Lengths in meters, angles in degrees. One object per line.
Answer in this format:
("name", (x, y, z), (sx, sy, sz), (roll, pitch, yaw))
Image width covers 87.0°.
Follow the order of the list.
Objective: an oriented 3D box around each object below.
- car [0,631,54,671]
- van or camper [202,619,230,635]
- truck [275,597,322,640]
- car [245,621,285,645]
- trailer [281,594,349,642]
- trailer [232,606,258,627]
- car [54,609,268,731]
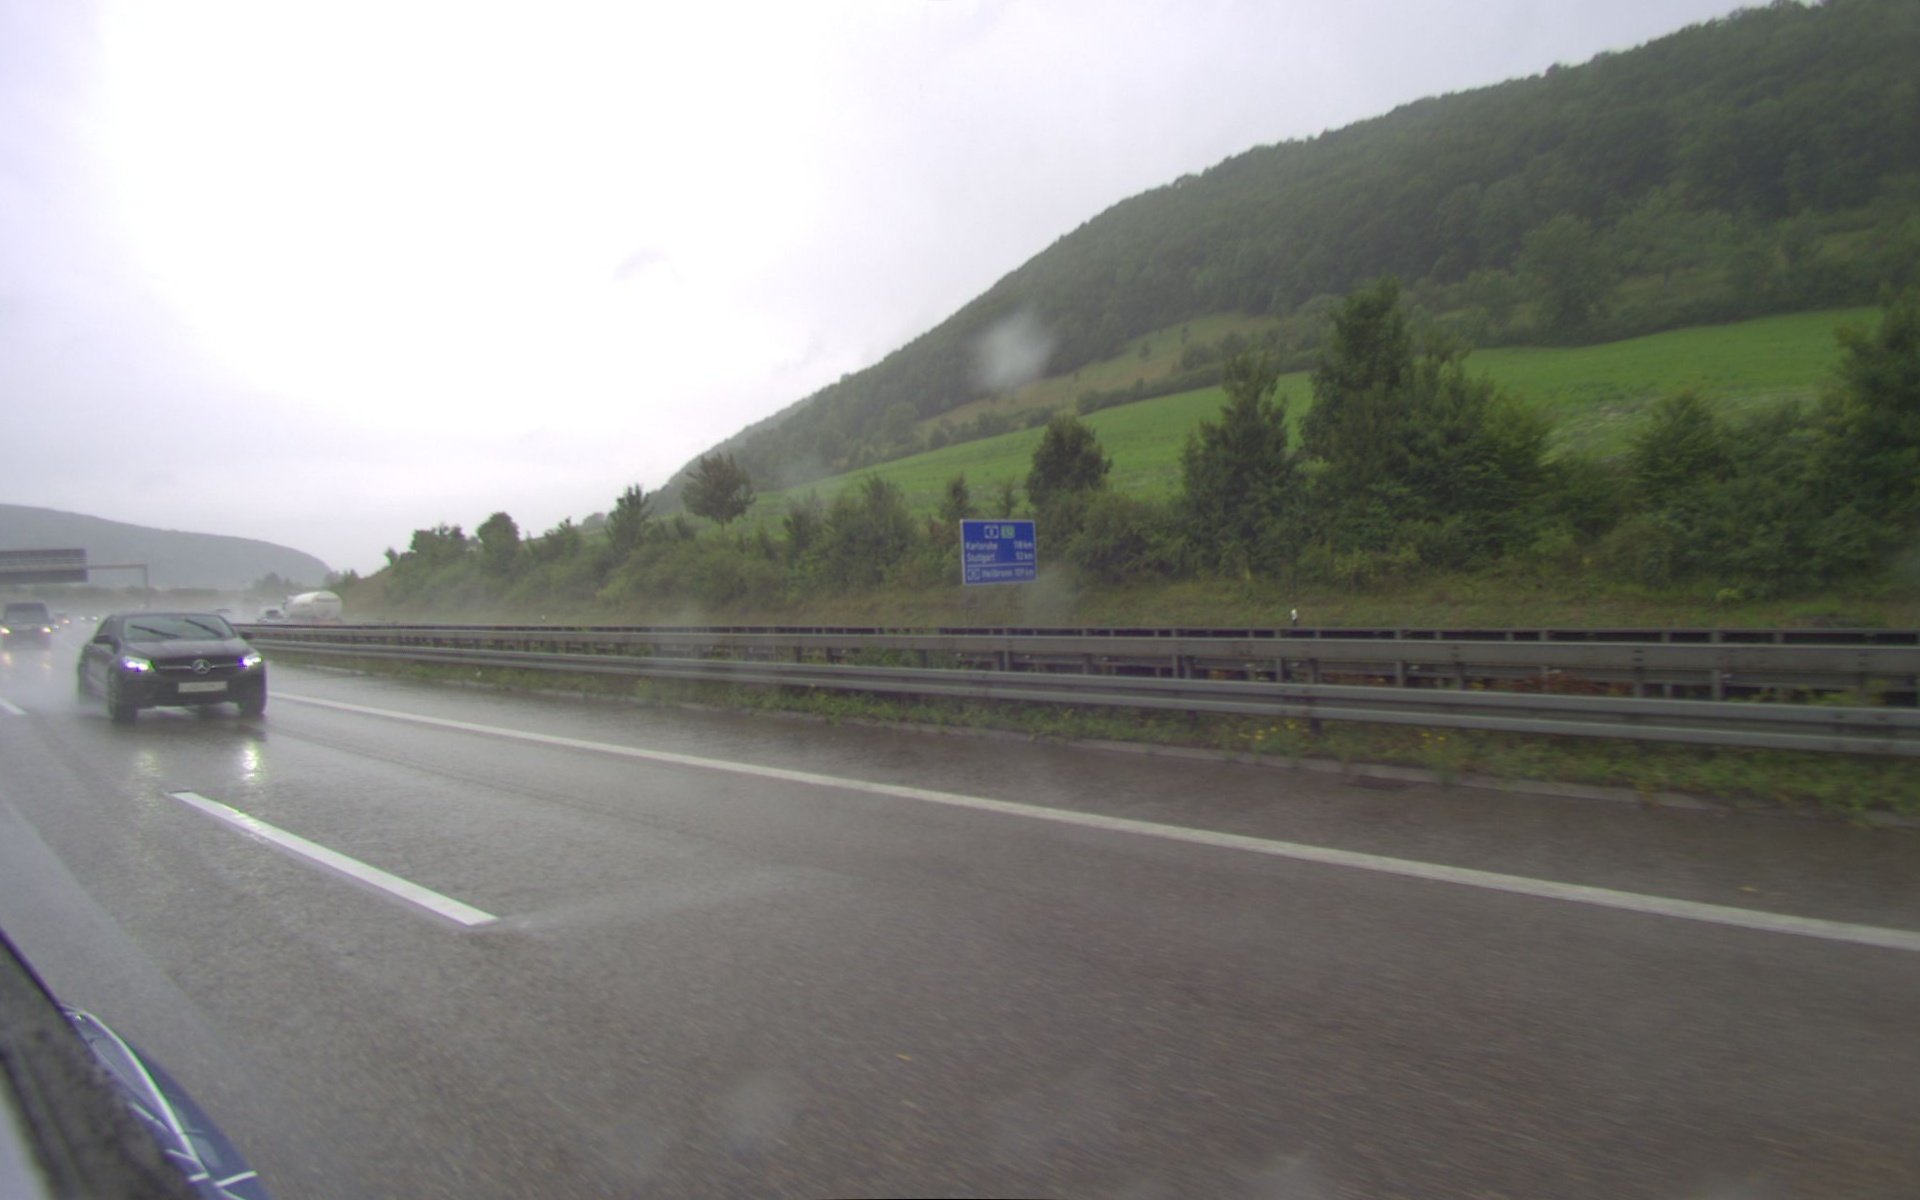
("car", (-50.325, 2.697, 54.559), (3.934, 2.029, 1.960), (-2, -1, 44))
("van or camper", (-90.352, 3.247, 122.893), (1.971, 1.892, 5.349), (0, -1, -45))
("truck", (-61.497, 1.698, 94.071), (2.849, 3.831, 5.321), (0, -1, -42))
("car", (-54.031, 2.545, 78.646), (1.970, 1.747, 4.004), (0, -1, -43))
("trailer", (-56.907, 1.559, 89.077), (2.898, 3.932, 12.581), (0, -1, -43))
("trailer", (-123.051, 2.881, 174.076), (2.686, 3.517, 9.409), (-1, 0, -41))
("car", (-12.801, 1.017, 16.154), (3.743, 1.715, 1.793), (0, -2, 37))
